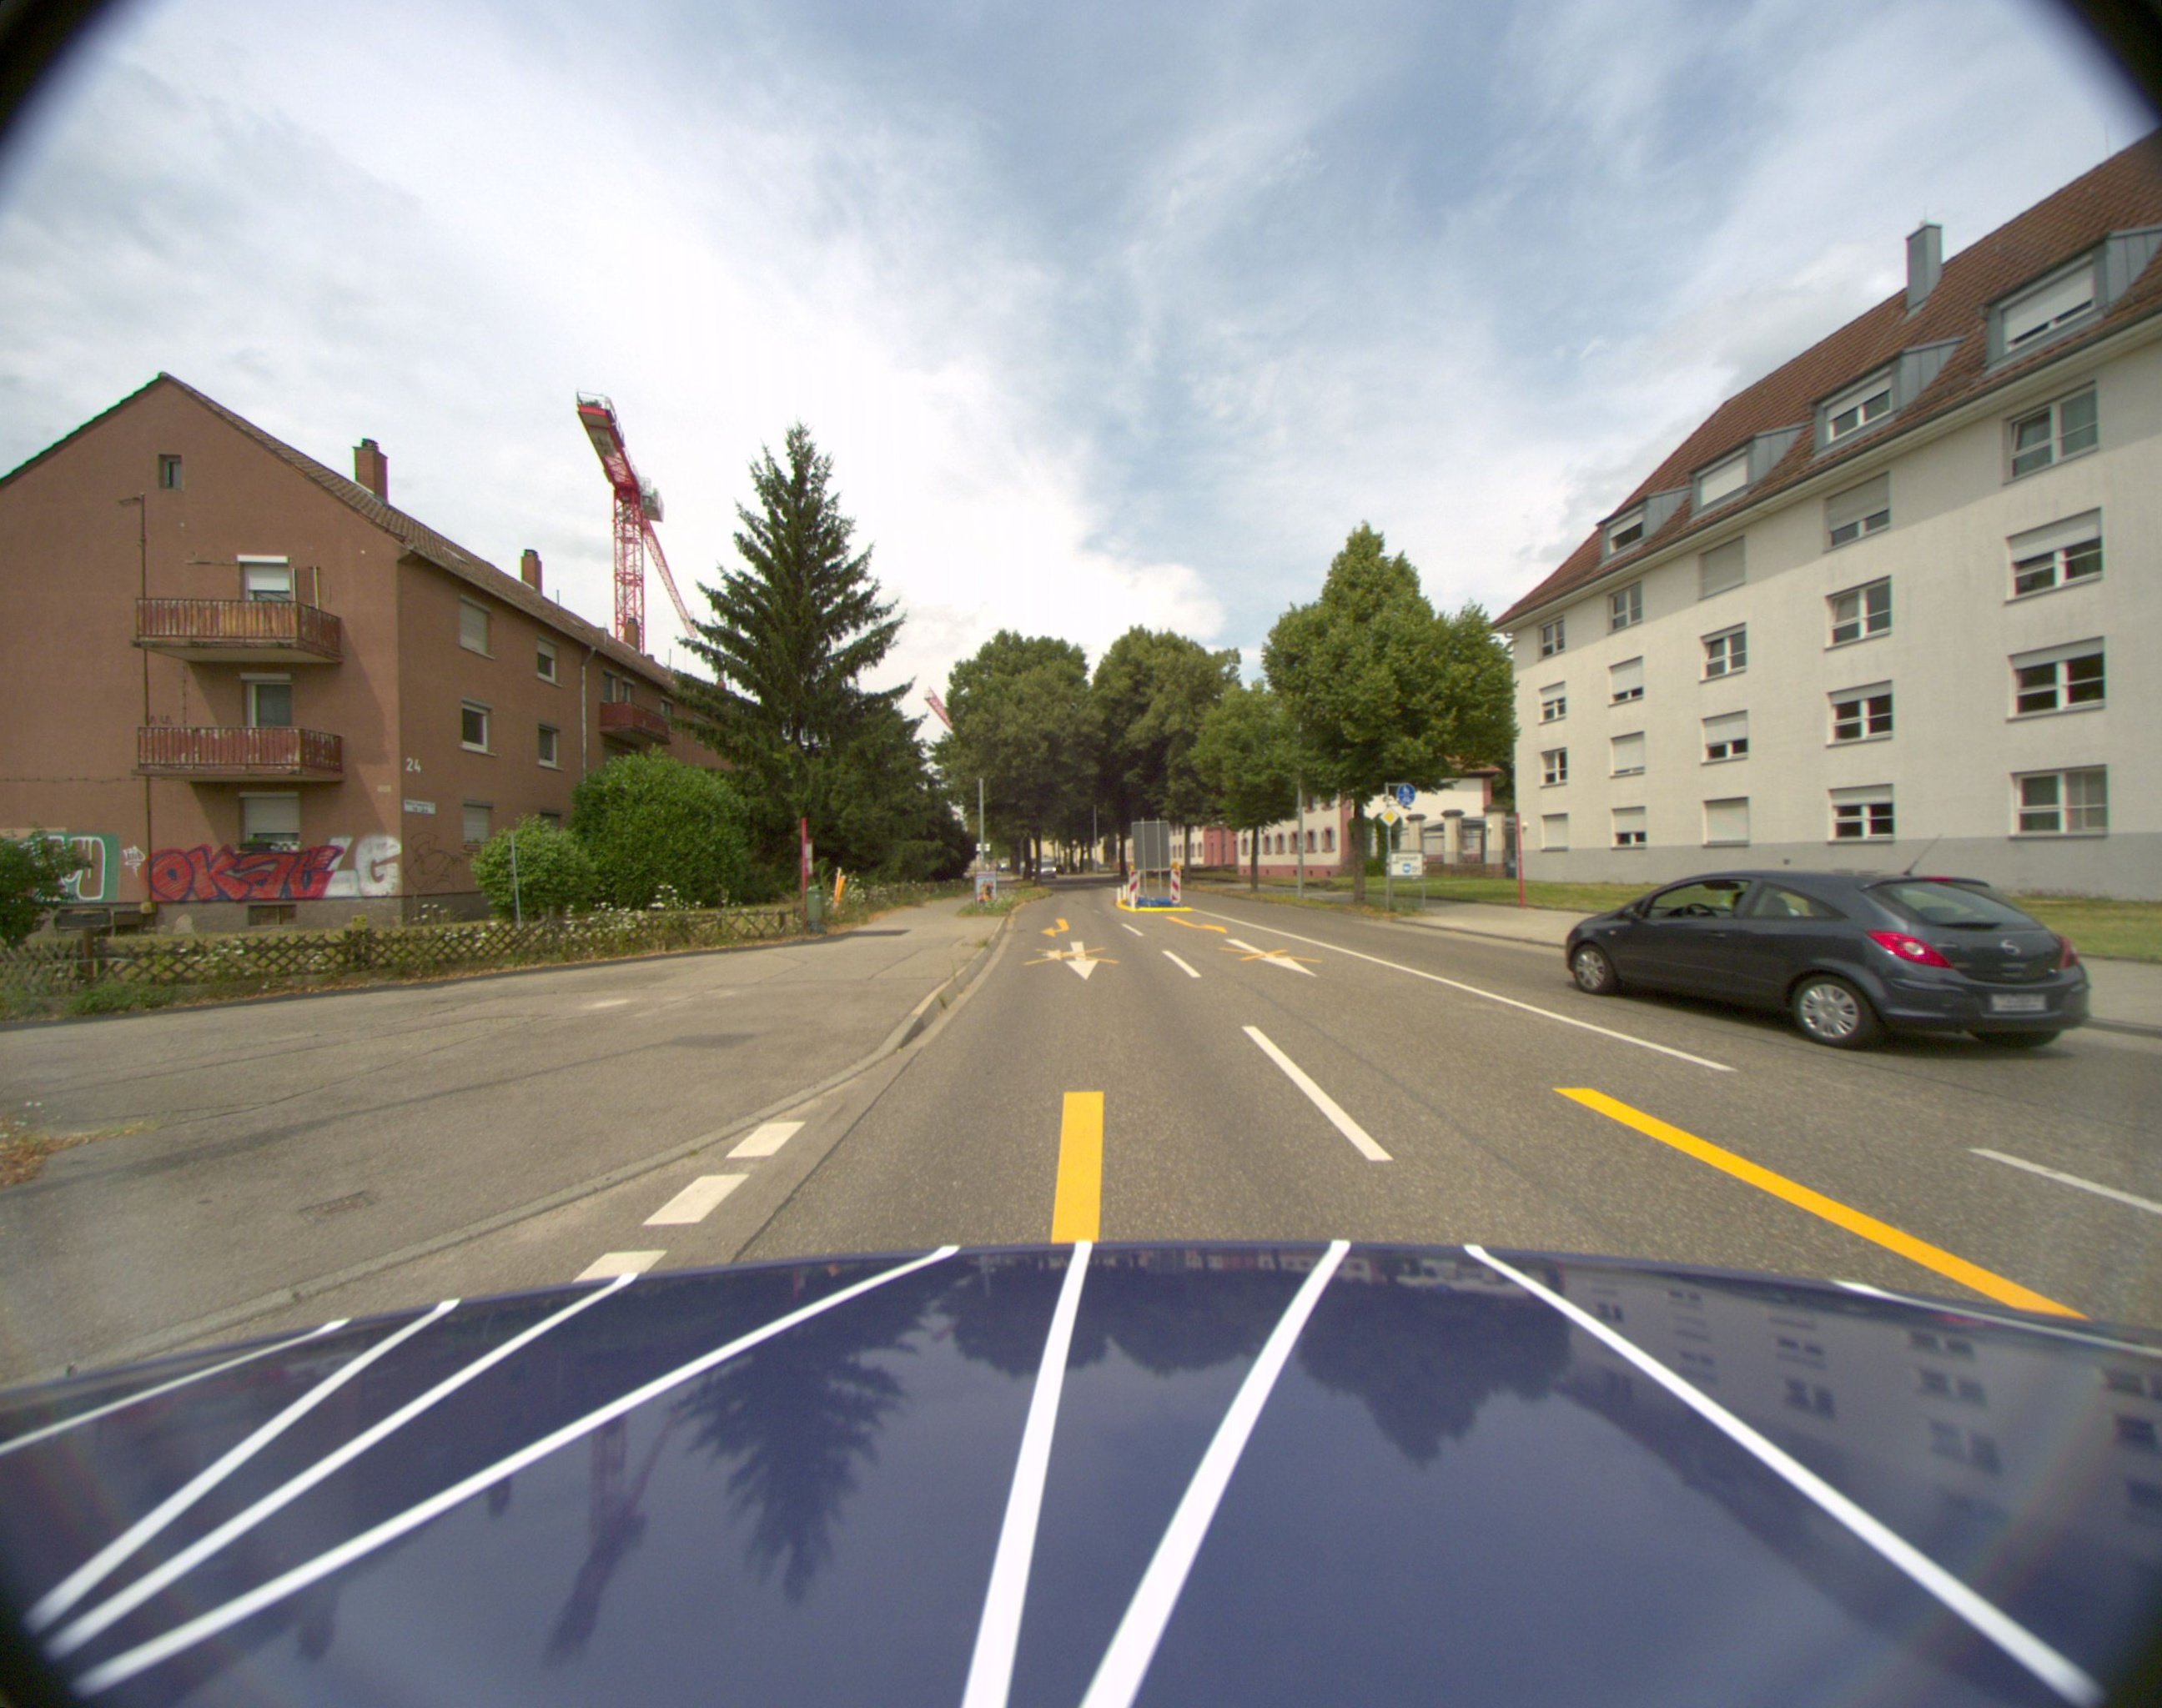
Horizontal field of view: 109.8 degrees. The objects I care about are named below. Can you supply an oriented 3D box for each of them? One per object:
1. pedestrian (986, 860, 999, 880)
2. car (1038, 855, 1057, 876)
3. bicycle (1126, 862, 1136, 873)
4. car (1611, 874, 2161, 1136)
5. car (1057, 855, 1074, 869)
[{"bbox_3d":[-8.104,1.443,69.651,0.883,1.803,0.889,0,0,13],"label":"pedestrian"},{"bbox_3d":[-3.106,1.106,70.840,1.678,1.710,4.388,0,-5,-4],"label":"car"},{"bbox_3d":[5.616,1.537,85.362,0.725,1.088,2.224,-5,-1,-6],"label":"bicycle"},{"bbox_3d":[6.647,0.933,6.329,1.674,1.471,3.726,1,-1,-4],"label":"car"},{"bbox_3d":[-2.116,1.087,101.480,2.010,1.432,4.389,0,-7,-5],"label":"car"}]
